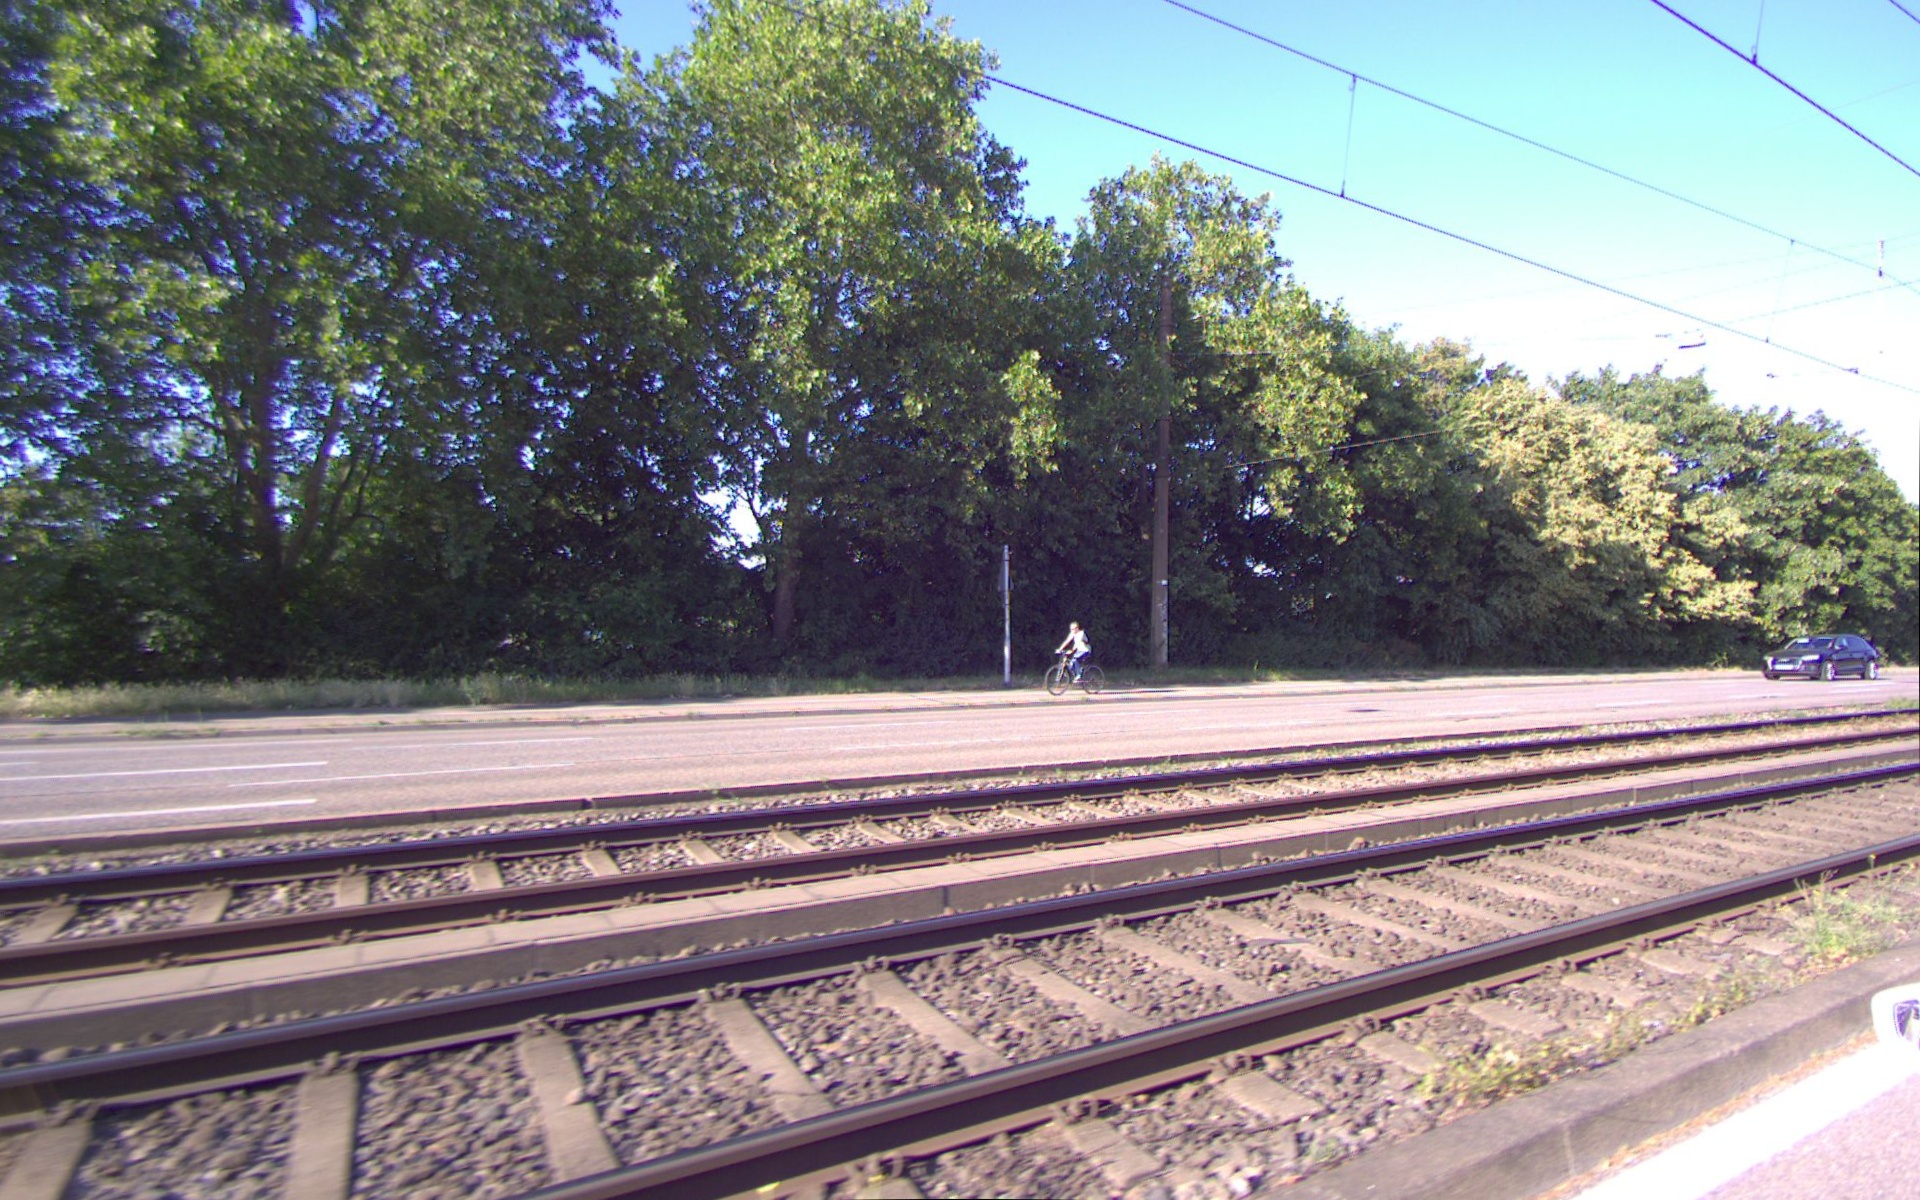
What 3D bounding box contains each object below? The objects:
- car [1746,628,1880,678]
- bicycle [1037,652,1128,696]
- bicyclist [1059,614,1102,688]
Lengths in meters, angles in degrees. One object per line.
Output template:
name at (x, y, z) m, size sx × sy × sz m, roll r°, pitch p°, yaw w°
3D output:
car at (30.734, 1.914, 36.178) m, size 4.733 × 1.707 × 1.987 m, roll 1°, pitch -3°, yaw -27°
bicycle at (2.922, 1.743, 23.921) m, size 2.209 × 0.999 × 0.548 m, roll 1°, pitch 0°, yaw -27°
bicyclist at (2.871, 1.203, 23.920) m, size 0.809 × 1.713 × 0.548 m, roll 1°, pitch 1°, yaw -26°
